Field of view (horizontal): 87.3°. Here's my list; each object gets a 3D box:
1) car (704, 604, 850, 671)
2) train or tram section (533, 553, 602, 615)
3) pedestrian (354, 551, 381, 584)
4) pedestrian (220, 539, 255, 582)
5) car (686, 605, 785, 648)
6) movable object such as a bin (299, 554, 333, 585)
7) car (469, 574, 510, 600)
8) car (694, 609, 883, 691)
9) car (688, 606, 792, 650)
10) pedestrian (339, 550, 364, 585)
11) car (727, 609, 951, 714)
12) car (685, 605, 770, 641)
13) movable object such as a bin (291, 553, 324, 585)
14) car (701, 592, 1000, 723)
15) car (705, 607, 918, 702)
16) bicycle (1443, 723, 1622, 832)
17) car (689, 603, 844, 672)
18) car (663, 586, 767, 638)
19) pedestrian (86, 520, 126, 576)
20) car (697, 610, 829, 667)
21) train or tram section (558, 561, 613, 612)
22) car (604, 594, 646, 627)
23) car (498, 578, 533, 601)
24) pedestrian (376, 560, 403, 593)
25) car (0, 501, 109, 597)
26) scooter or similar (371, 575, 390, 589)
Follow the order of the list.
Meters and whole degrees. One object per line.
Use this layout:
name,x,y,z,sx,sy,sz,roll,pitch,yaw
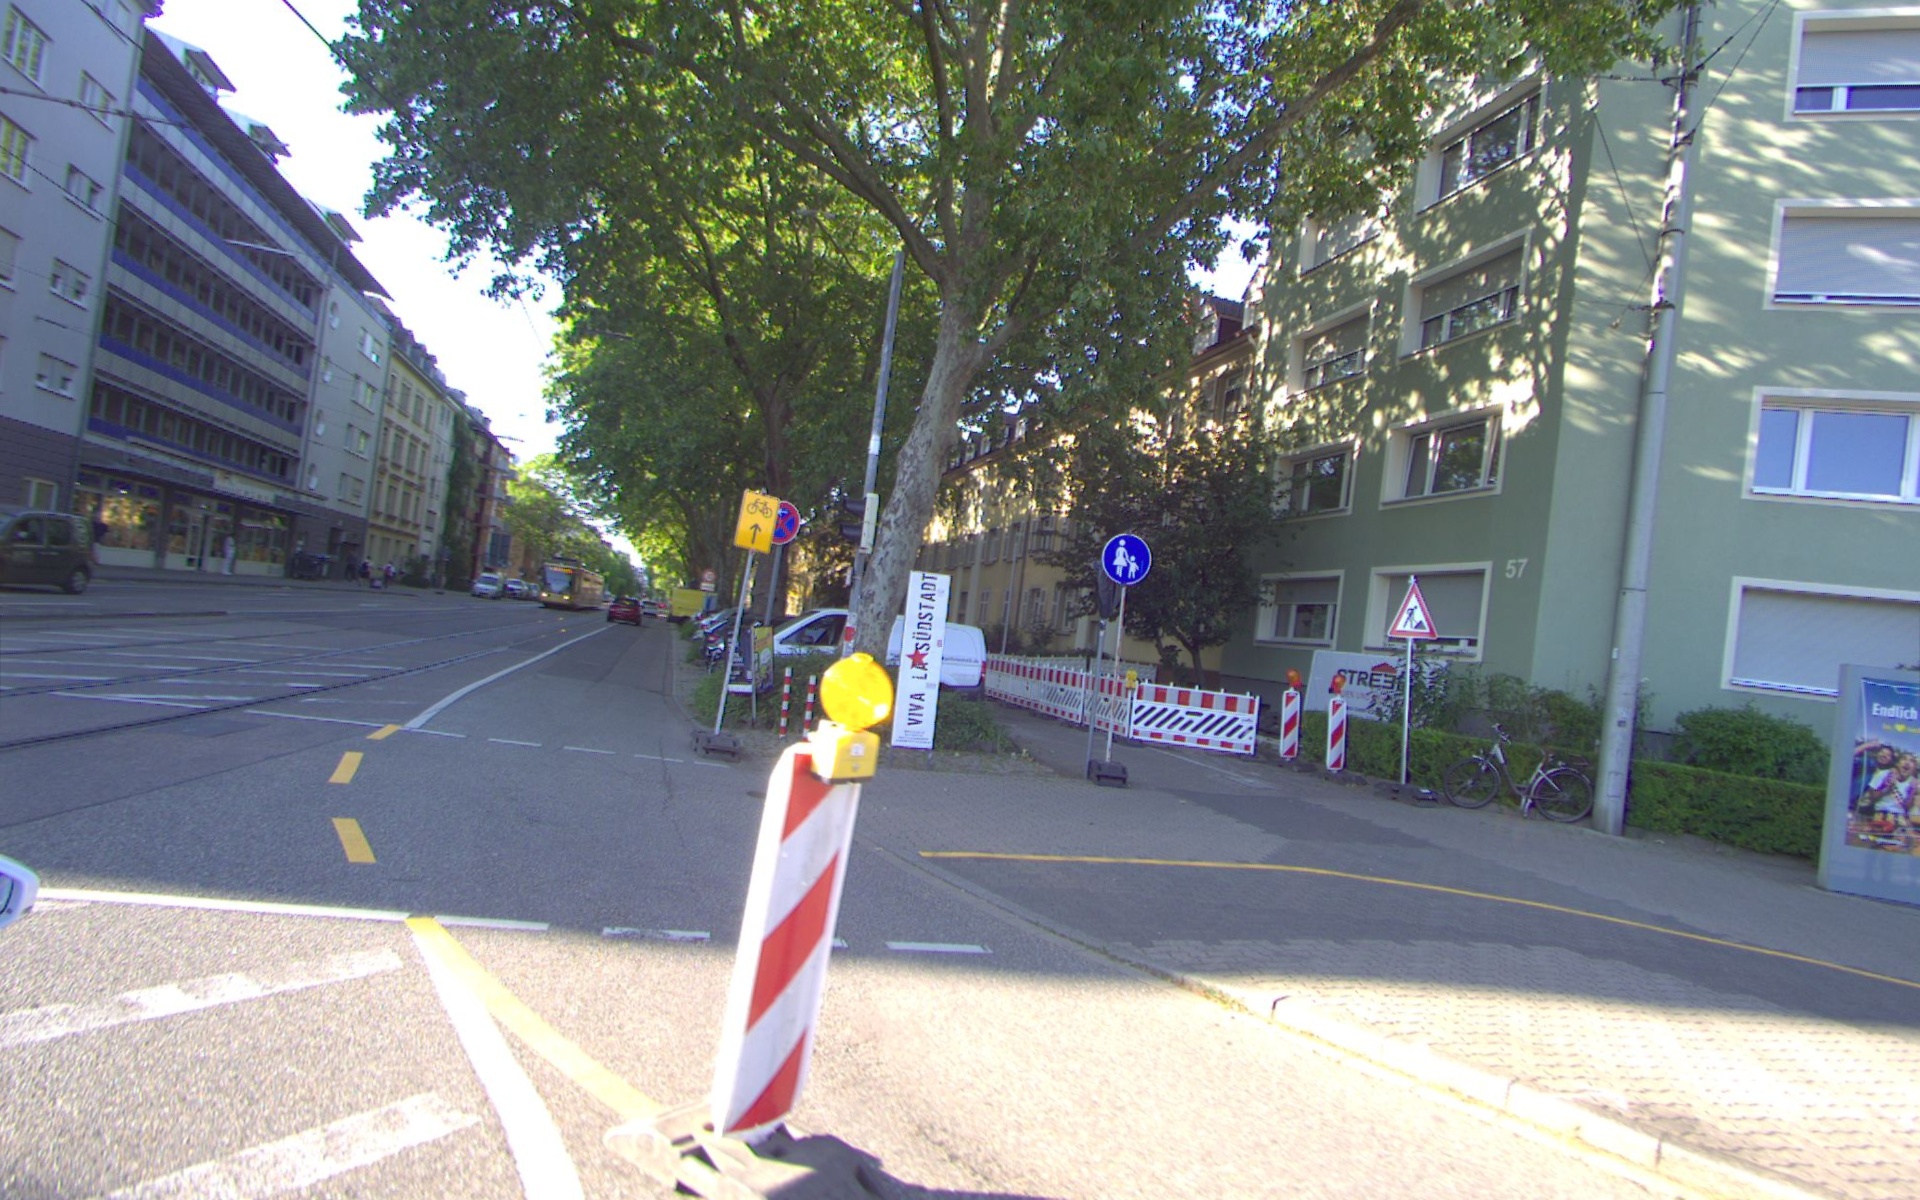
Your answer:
car,-6.387,1.299,35.016,4.656,1.742,1.914,8,-2,-16
train or tram section,-28.157,-0.995,72.716,2.826,3.679,13.165,7,-2,-15
pedestrian,-32.223,-1.762,54.723,0.881,1.643,1.031,7,-1,-16
pedestrian,-30.913,-1.673,43.041,1.023,1.682,1.216,8,-2,-35
car,-11.496,1.355,51.574,4.660,1.551,1.913,8,-2,-19
movable object such as a bin,-33.259,-1.559,51.966,1.000,1.445,1.253,7,-2,-15
car,-33.912,-0.919,72.645,1.871,1.582,4.380,8,-2,-16
car,-4.508,1.296,26.329,4.534,1.523,1.913,8,-2,-18
car,-10.739,1.356,49.032,4.660,1.551,1.913,8,-2,-19
pedestrian,-36.159,-1.927,59.781,0.881,1.886,0.787,7,-1,-14
car,-2.609,1.283,21.391,4.354,1.620,1.938,8,-2,-15
car,-13.772,1.353,59.502,4.659,1.551,1.913,8,-2,-18
movable object such as a bin,-32.824,-1.532,50.601,1.002,1.445,1.140,8,-2,-20
car,-2.061,1.088,18.784,5.158,1.847,1.925,7,-3,-17
car,-3.547,1.267,23.764,4.655,1.620,1.915,8,-2,-16
bicycle,7.429,2.287,13.148,1.900,1.069,0.521,6,-2,28
car,-6.261,1.218,32.515,4.655,1.620,1.915,8,-2,-16
car,-15.037,0.764,61.778,5.874,2.393,2.055,8,-2,-15
pedestrian,-27.268,-1.655,32.120,0.656,1.667,0.622,7,-1,-24
car,-7.472,1.435,38.068,4.656,1.551,1.914,8,-2,-16
train or tram section,-31.544,-1.027,85.188,2.798,3.679,12.784,7,-2,-15
car,-18.710,0.613,56.348,1.870,1.582,4.383,6,-3,-15
car,-36.588,-0.834,82.861,1.871,1.582,4.380,8,-2,-16
pedestrian,-31.384,-1.284,55.362,0.881,1.643,1.031,7,-1,-16
car,-19.809,-1.105,20.483,1.885,1.827,4.352,7,-2,-14
scooter or similar,-31.428,-0.976,54.551,0.617,0.656,0.764,8,-2,-15
